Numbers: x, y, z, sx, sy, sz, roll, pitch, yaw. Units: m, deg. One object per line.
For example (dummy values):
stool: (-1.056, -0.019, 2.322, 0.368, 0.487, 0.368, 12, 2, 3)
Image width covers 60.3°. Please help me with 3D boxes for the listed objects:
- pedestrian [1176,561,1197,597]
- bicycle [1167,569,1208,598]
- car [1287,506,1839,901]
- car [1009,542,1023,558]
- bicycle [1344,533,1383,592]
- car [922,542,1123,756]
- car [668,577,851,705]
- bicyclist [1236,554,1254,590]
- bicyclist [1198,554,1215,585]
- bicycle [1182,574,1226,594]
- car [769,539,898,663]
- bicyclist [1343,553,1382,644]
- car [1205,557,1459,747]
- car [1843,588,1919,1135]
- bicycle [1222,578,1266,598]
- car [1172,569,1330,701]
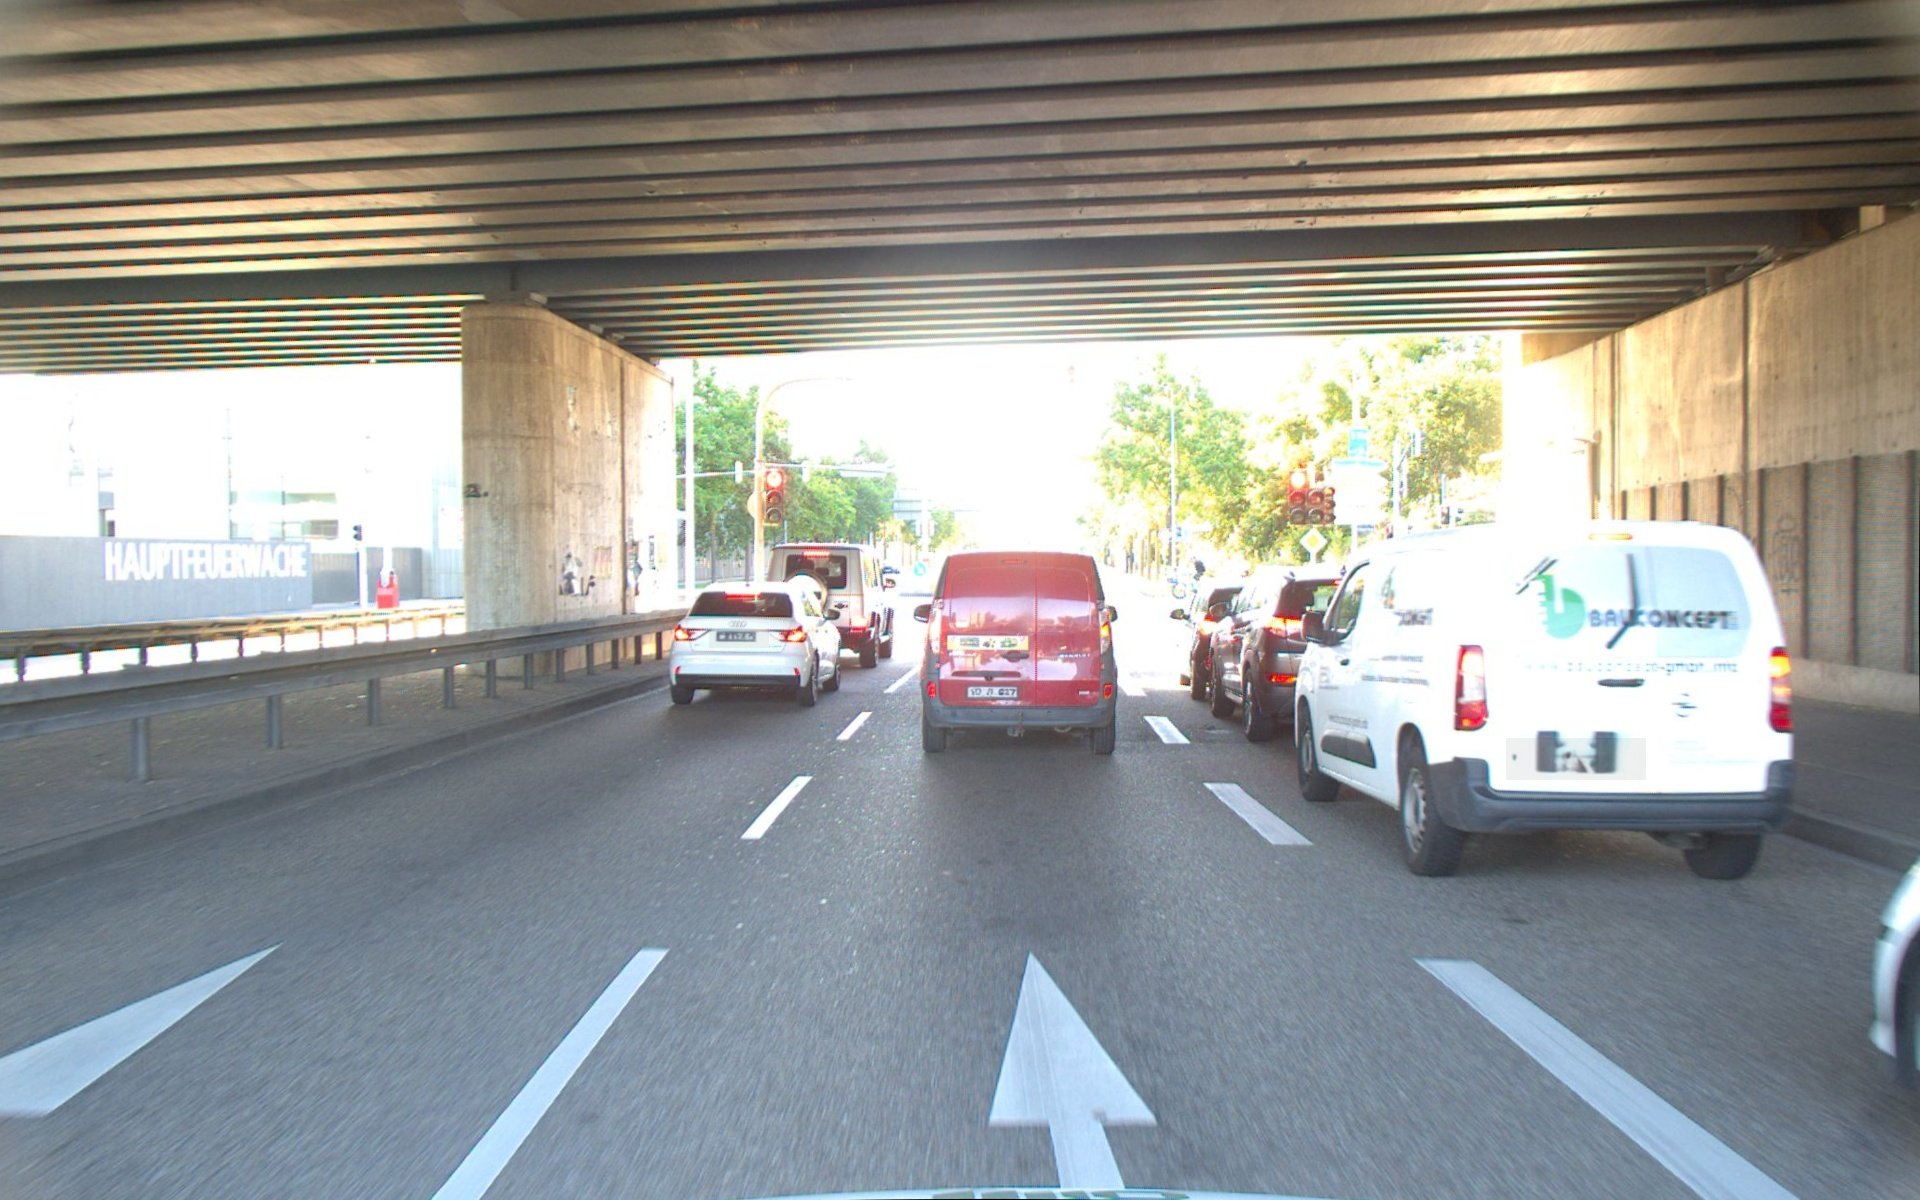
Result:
pedestrian: (9.947, -0.936, 72.591, 0.820, 1.581, 0.556, 0, 0, -4)
bicycle: (9.974, -0.727, 72.595, 1.695, 1.255, 0.557, 0, -1, -4)
car: (3.308, 0.468, 10.055, 1.776, 1.865, 4.300, 1, 1, 0)
car: (7.782, -6.875, 229.617, 1.952, 2.049, 4.001, 1, 0, 2)
bicycle: (7.484, -0.689, 30.693, 0.662, 1.042, 1.530, 1, 0, 13)
car: (0.611, 0.396, 16.016, 1.683, 1.795, 4.001, 1, 0, 2)
car: (-2.401, 0.445, 20.669, 1.657, 1.434, 3.814, 1, 1, 2)
bicyclist: (12.601, -1.243, 73.173, 0.739, 1.569, 0.697, 0, 0, 7)
bicyclist: (11.149, -1.384, 74.896, 0.640, 1.352, 0.602, 1, 0, -3)
bicycle: (11.049, -0.718, 74.859, 1.874, 0.882, 0.605, 0, 0, -1)
car: (-2.078, -0.005, 28.061, 1.776, 1.937, 3.814, 1, 0, 2)
bicyclist: (7.467, -0.026, 30.679, 0.663, 1.657, 0.644, 1, 0, 13)
car: (3.666, 0.444, 16.994, 1.741, 1.684, 3.991, 1, 1, 1)
car: (3.512, 0.740, 2.551, 1.710, 1.481, 4.663, 1, 1, -2)
bicycle: (12.570, -0.526, 73.175, 1.911, 0.889, 0.700, 0, 0, 7)
car: (3.849, 0.397, 22.413, 1.618, 1.579, 3.865, 1, 1, 3)
